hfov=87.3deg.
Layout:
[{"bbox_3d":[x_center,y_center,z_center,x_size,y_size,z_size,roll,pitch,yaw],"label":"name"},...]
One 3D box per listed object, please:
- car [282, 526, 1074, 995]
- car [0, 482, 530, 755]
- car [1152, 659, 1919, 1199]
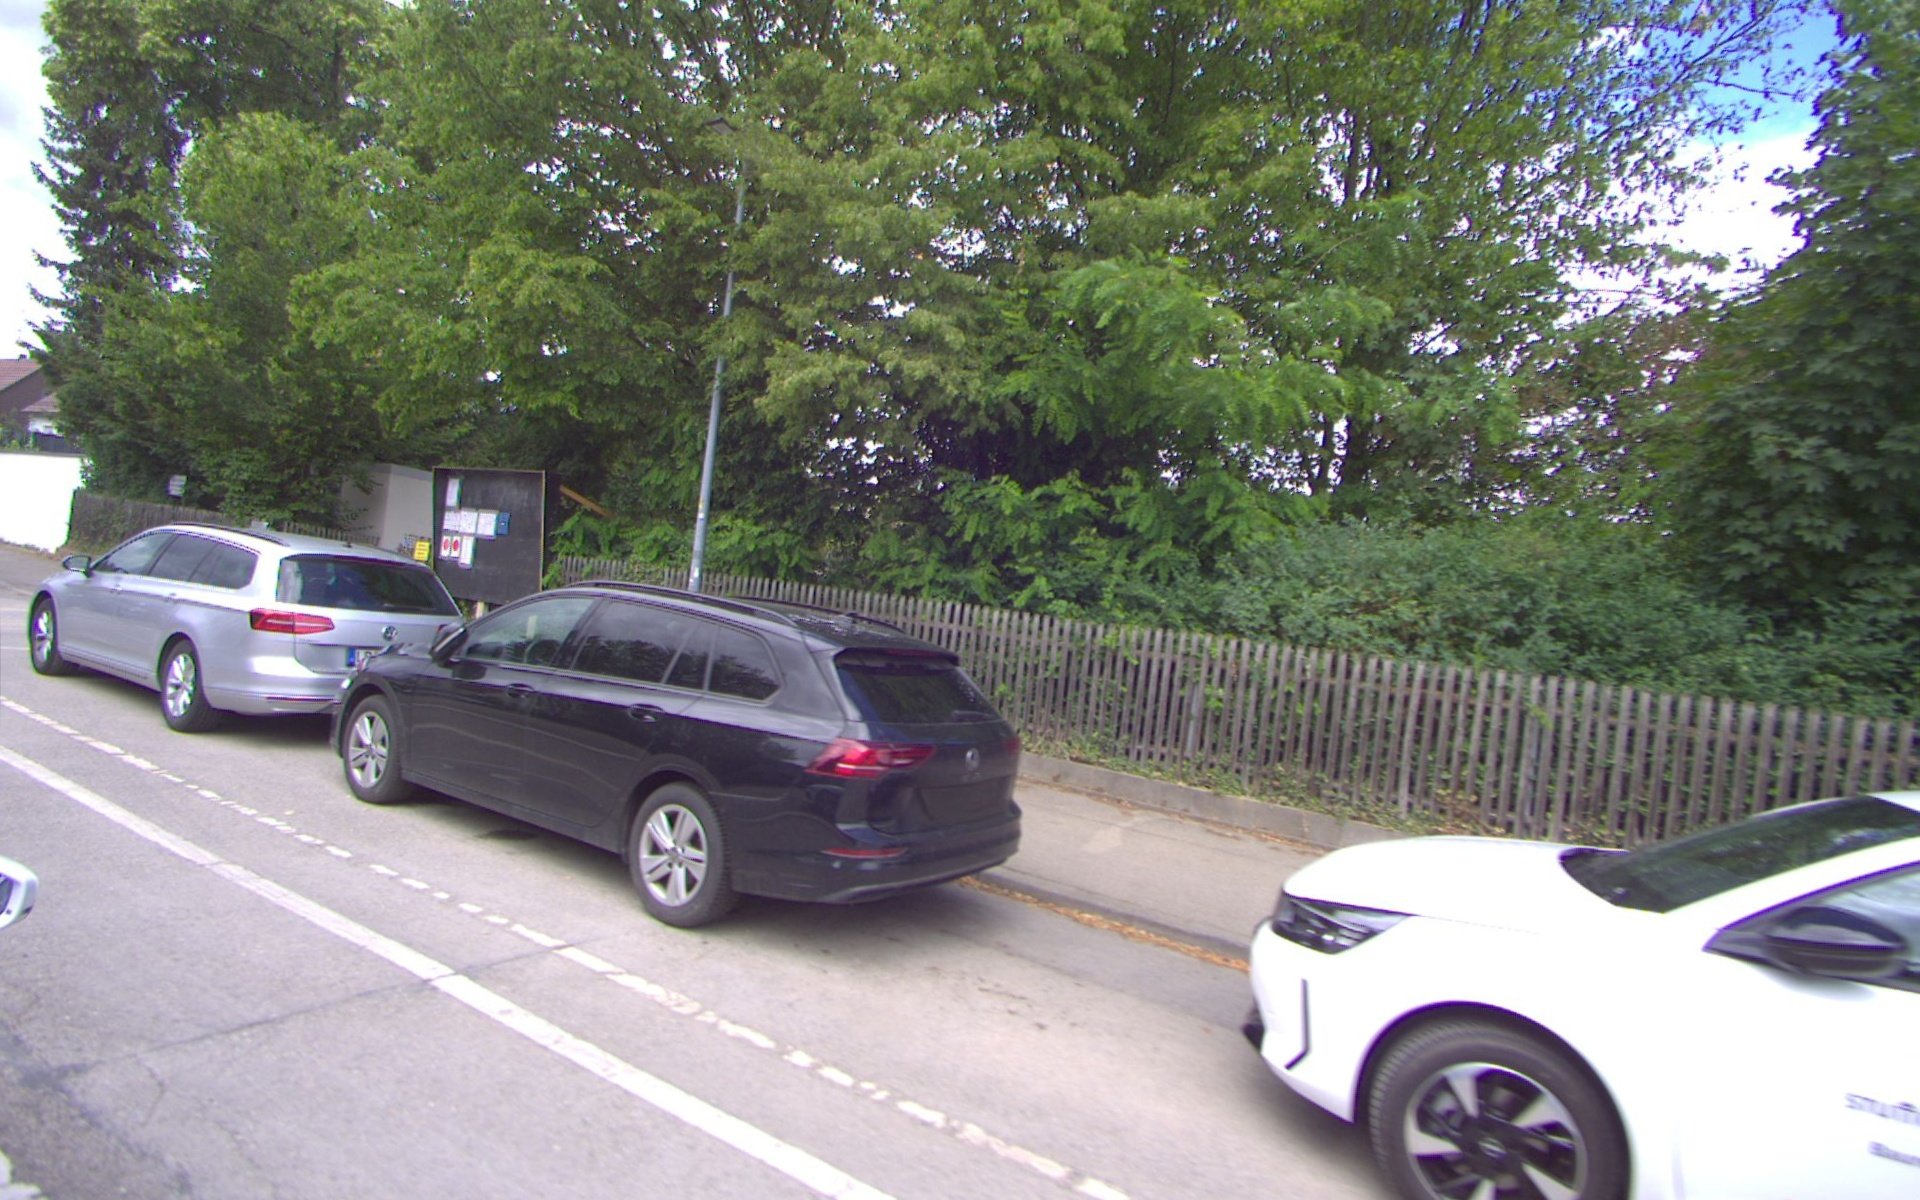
[{"bbox_3d":[-1.806,0.622,5.808,4.462,1.527,1.705,7,-2,32],"label":"car"},{"bbox_3d":[-6.002,0.079,8.506,4.608,1.629,1.866,6,-2,31],"label":"car"},{"bbox_3d":[2.829,1.207,2.926,3.965,1.528,1.770,6,-1,33],"label":"car"}]
